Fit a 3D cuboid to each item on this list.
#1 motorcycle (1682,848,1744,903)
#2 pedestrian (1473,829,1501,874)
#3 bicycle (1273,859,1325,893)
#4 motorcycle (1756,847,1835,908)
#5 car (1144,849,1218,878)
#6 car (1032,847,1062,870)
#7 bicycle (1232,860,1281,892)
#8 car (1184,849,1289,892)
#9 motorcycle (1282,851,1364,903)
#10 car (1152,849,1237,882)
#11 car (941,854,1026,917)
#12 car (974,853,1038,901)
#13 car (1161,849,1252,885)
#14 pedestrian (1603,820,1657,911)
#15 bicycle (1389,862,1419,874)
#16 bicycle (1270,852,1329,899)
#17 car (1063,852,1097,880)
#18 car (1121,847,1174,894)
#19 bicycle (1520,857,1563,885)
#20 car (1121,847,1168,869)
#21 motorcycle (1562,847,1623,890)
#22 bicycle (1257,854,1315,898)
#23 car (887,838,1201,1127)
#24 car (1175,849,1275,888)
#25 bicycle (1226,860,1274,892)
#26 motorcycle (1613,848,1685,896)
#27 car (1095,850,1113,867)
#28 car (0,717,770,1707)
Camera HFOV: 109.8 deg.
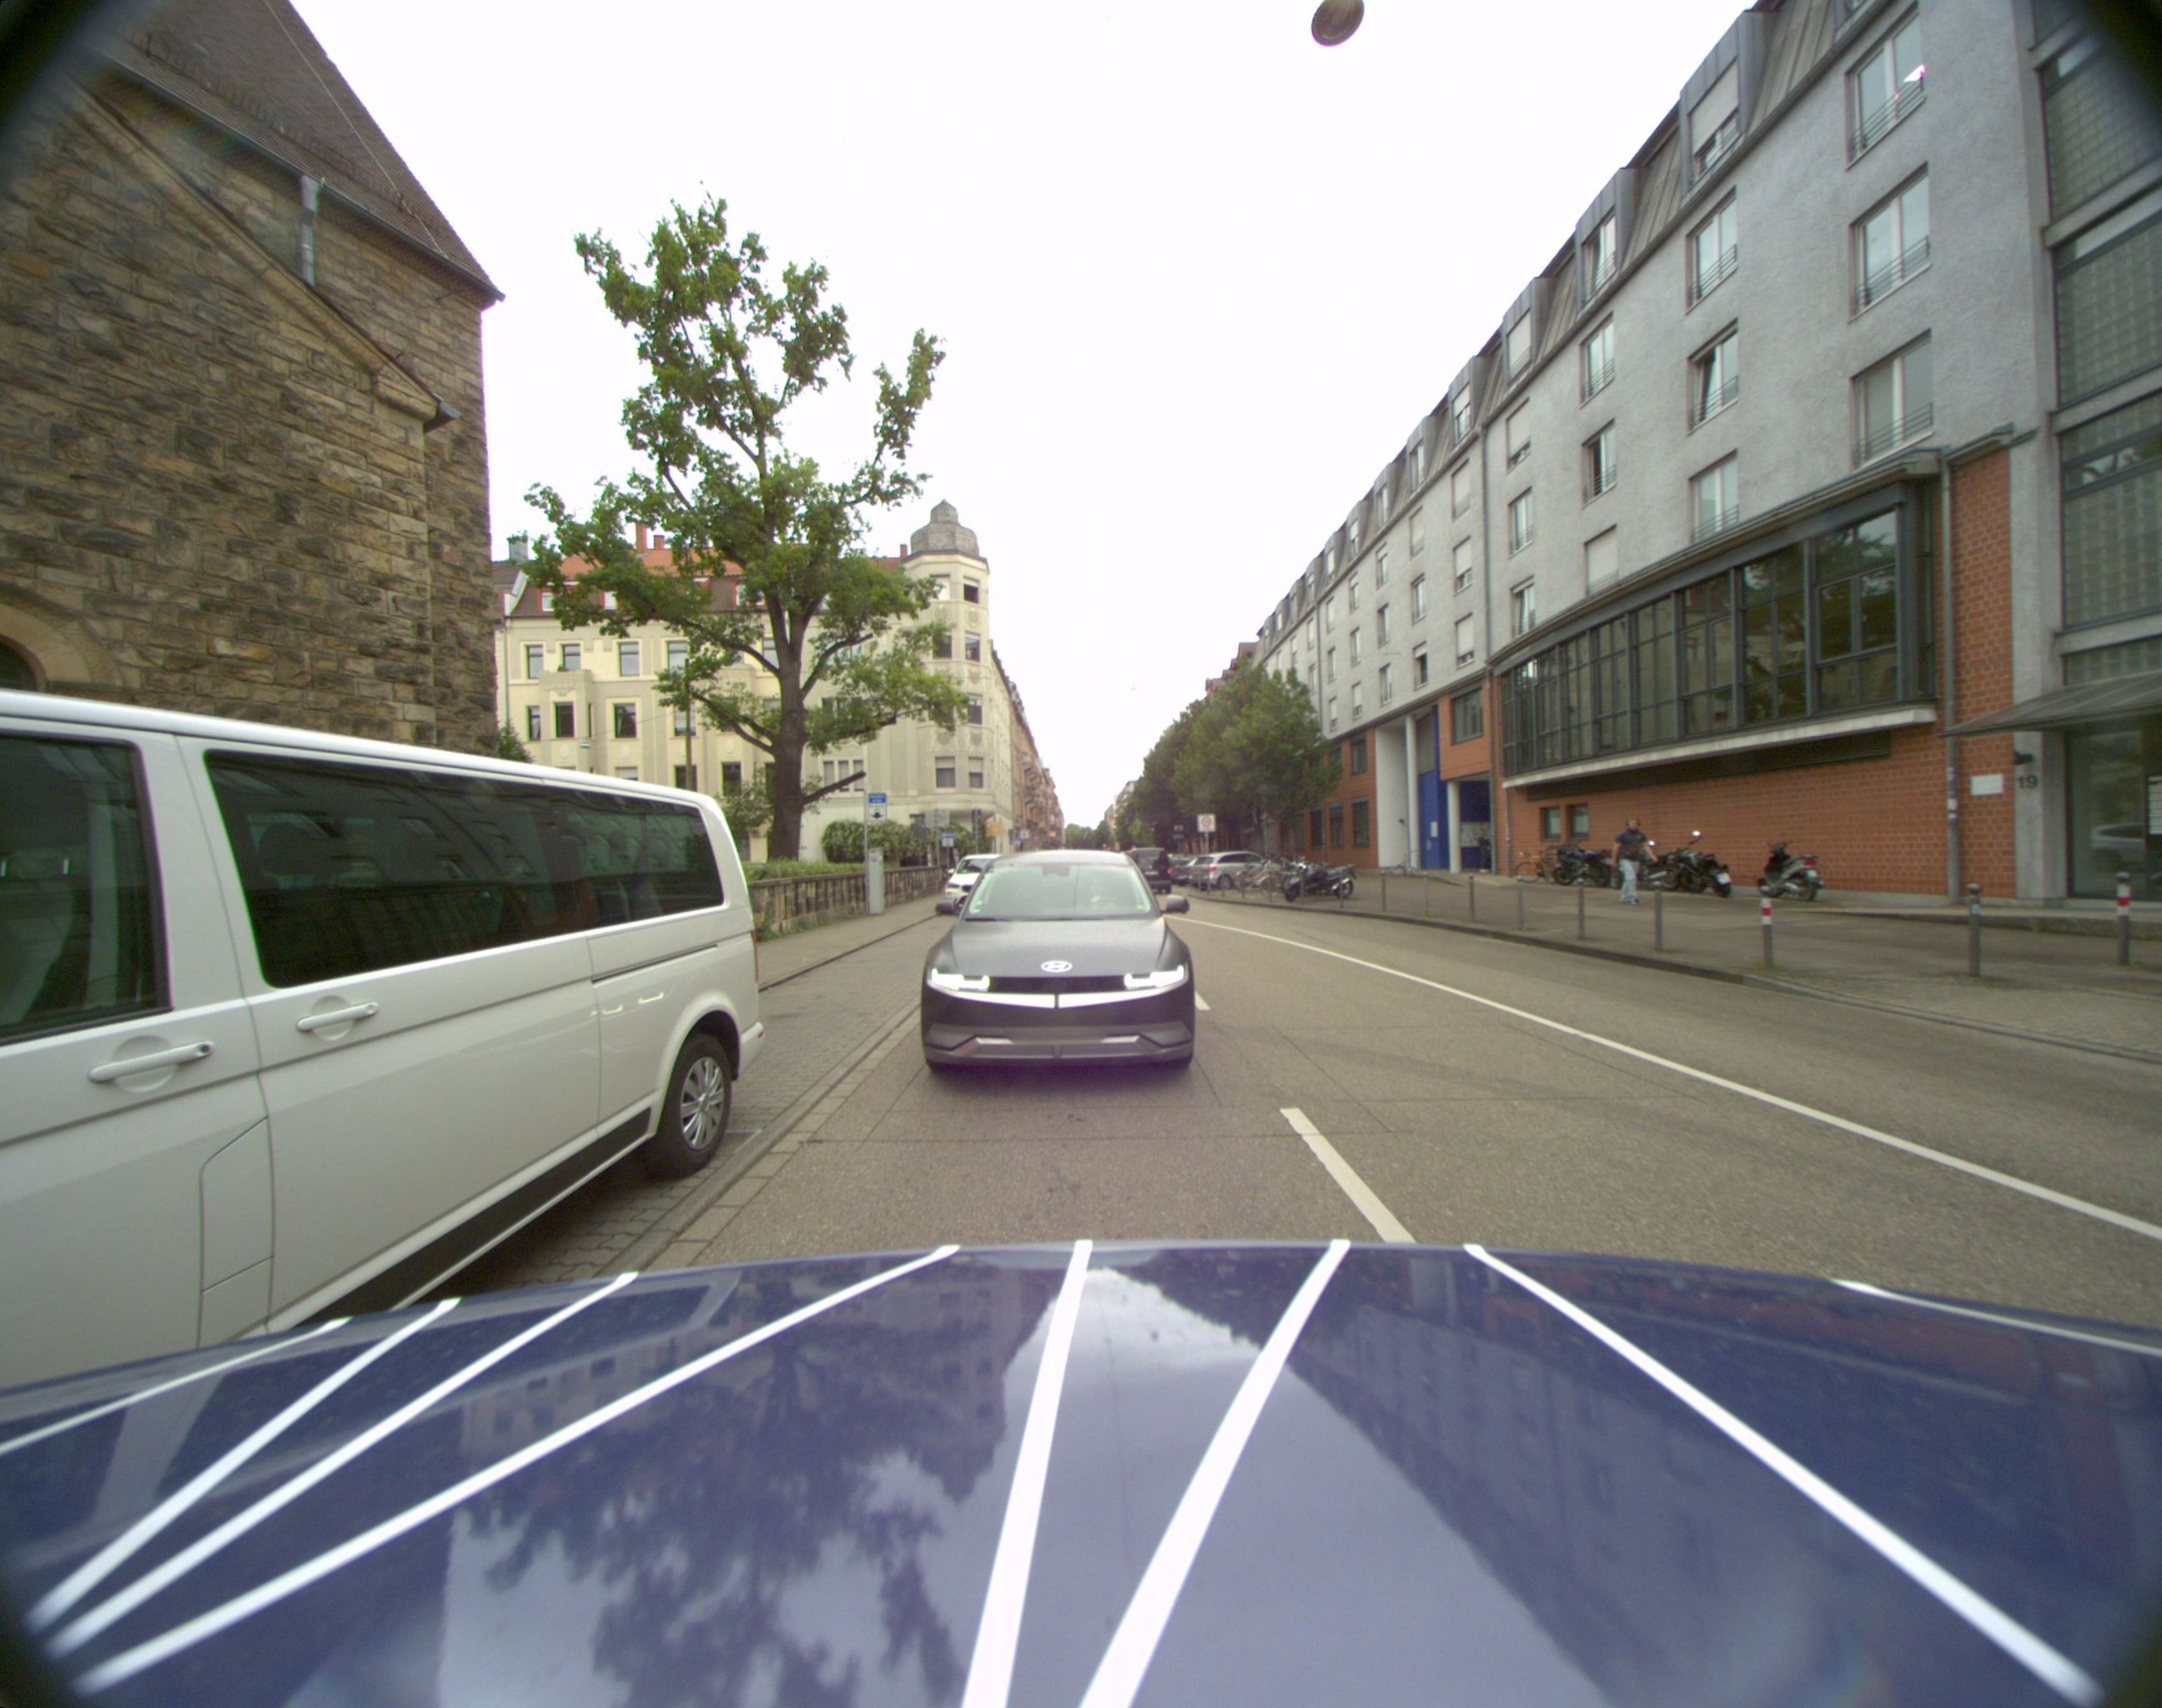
[{"bbox_3d":[13.333,0.420,16.065,0.445,1.091,1.765,-1,0,21],"label":"motorcycle"},{"bbox_3d":[15.466,-0.096,28.966,0.686,1.640,0.622,-2,1,2],"label":"pedestrian"},{"bbox_3d":[7.605,0.761,26.519,1.630,1.067,0.416,-3,1,-1],"label":"bicycle"},{"bbox_3d":[13.535,0.415,14.449,0.445,1.091,1.765,-1,0,21],"label":"motorcycle"},{"bbox_3d":[6.090,0.581,46.523,4.004,1.619,1.996,-2,0,-22],"label":"car"},{"bbox_3d":[-2.382,0.306,54.055,1.820,1.556,4.000,-2,0,1],"label":"car"},{"bbox_3d":[6.368,0.800,27.591,1.630,1.067,0.416,-3,1,-1],"label":"bicycle"},{"bbox_3d":[6.536,0.654,31.929,4.004,1.619,1.769,-2,0,-22],"label":"car"},{"bbox_3d":[6.977,0.654,21.977,2.124,1.345,0.599,-3,1,1],"label":"motorcycle"},{"bbox_3d":[6.044,0.595,40.577,4.004,1.619,1.996,-2,0,-22],"label":"car"},{"bbox_3d":[-2.672,0.815,21.684,1.820,1.556,4.000,-2,0,1],"label":"car"},{"bbox_3d":[-2.647,0.763,27.613,1.820,1.556,4.000,-2,0,1],"label":"car"},{"bbox_3d":[6.231,0.616,37.807,4.004,1.619,1.996,-2,0,-22],"label":"car"},{"bbox_3d":[11.338,0.231,15.710,0.621,1.812,0.642,-2,1,1],"label":"pedestrian"},{"bbox_3d":[13.416,0.574,31.577,1.010,0.434,0.527,-2,2,2],"label":"bicycle"},{"bbox_3d":[6.675,0.645,23.223,1.630,1.345,0.416,-3,1,-1],"label":"bicycle"},{"bbox_3d":[-0.018,0.694,47.450,1.910,1.597,4.251,-2,1,2],"label":"car"},{"bbox_3d":[2.697,0.645,31.513,1.698,1.793,4.128,-1,0,-2],"label":"car"},{"bbox_3d":[13.876,0.491,22.935,0.336,0.783,1.581,-2,0,1],"label":"bicycle"},{"bbox_3d":[6.117,0.371,72.820,4.004,1.898,1.996,-2,0,-22],"label":"car"},{"bbox_3d":[13.665,0.380,20.350,0.446,1.091,1.763,-2,0,1],"label":"motorcycle"},{"bbox_3d":[6.435,0.672,23.884,1.630,1.282,0.416,-3,1,-1],"label":"bicycle"},{"bbox_3d":[-0.191,0.761,6.506,1.820,1.675,4.000,-2,0,1],"label":"car"},{"bbox_3d":[6.551,0.637,34.589,4.004,1.619,1.996,-2,0,-22],"label":"car"},{"bbox_3d":[6.226,0.800,28.030,1.630,1.067,0.416,-3,1,-1],"label":"bicycle"},{"bbox_3d":[13.668,0.407,18.343,0.446,1.091,1.763,-2,0,1],"label":"motorcycle"},{"bbox_3d":[2.748,0.496,91.525,1.998,1.897,4.000,-2,0,1],"label":"car"},{"bbox_3d":[-2.760,0.738,1.926,1.810,1.908,5.163,-2,0,-1],"label":"car"}]
